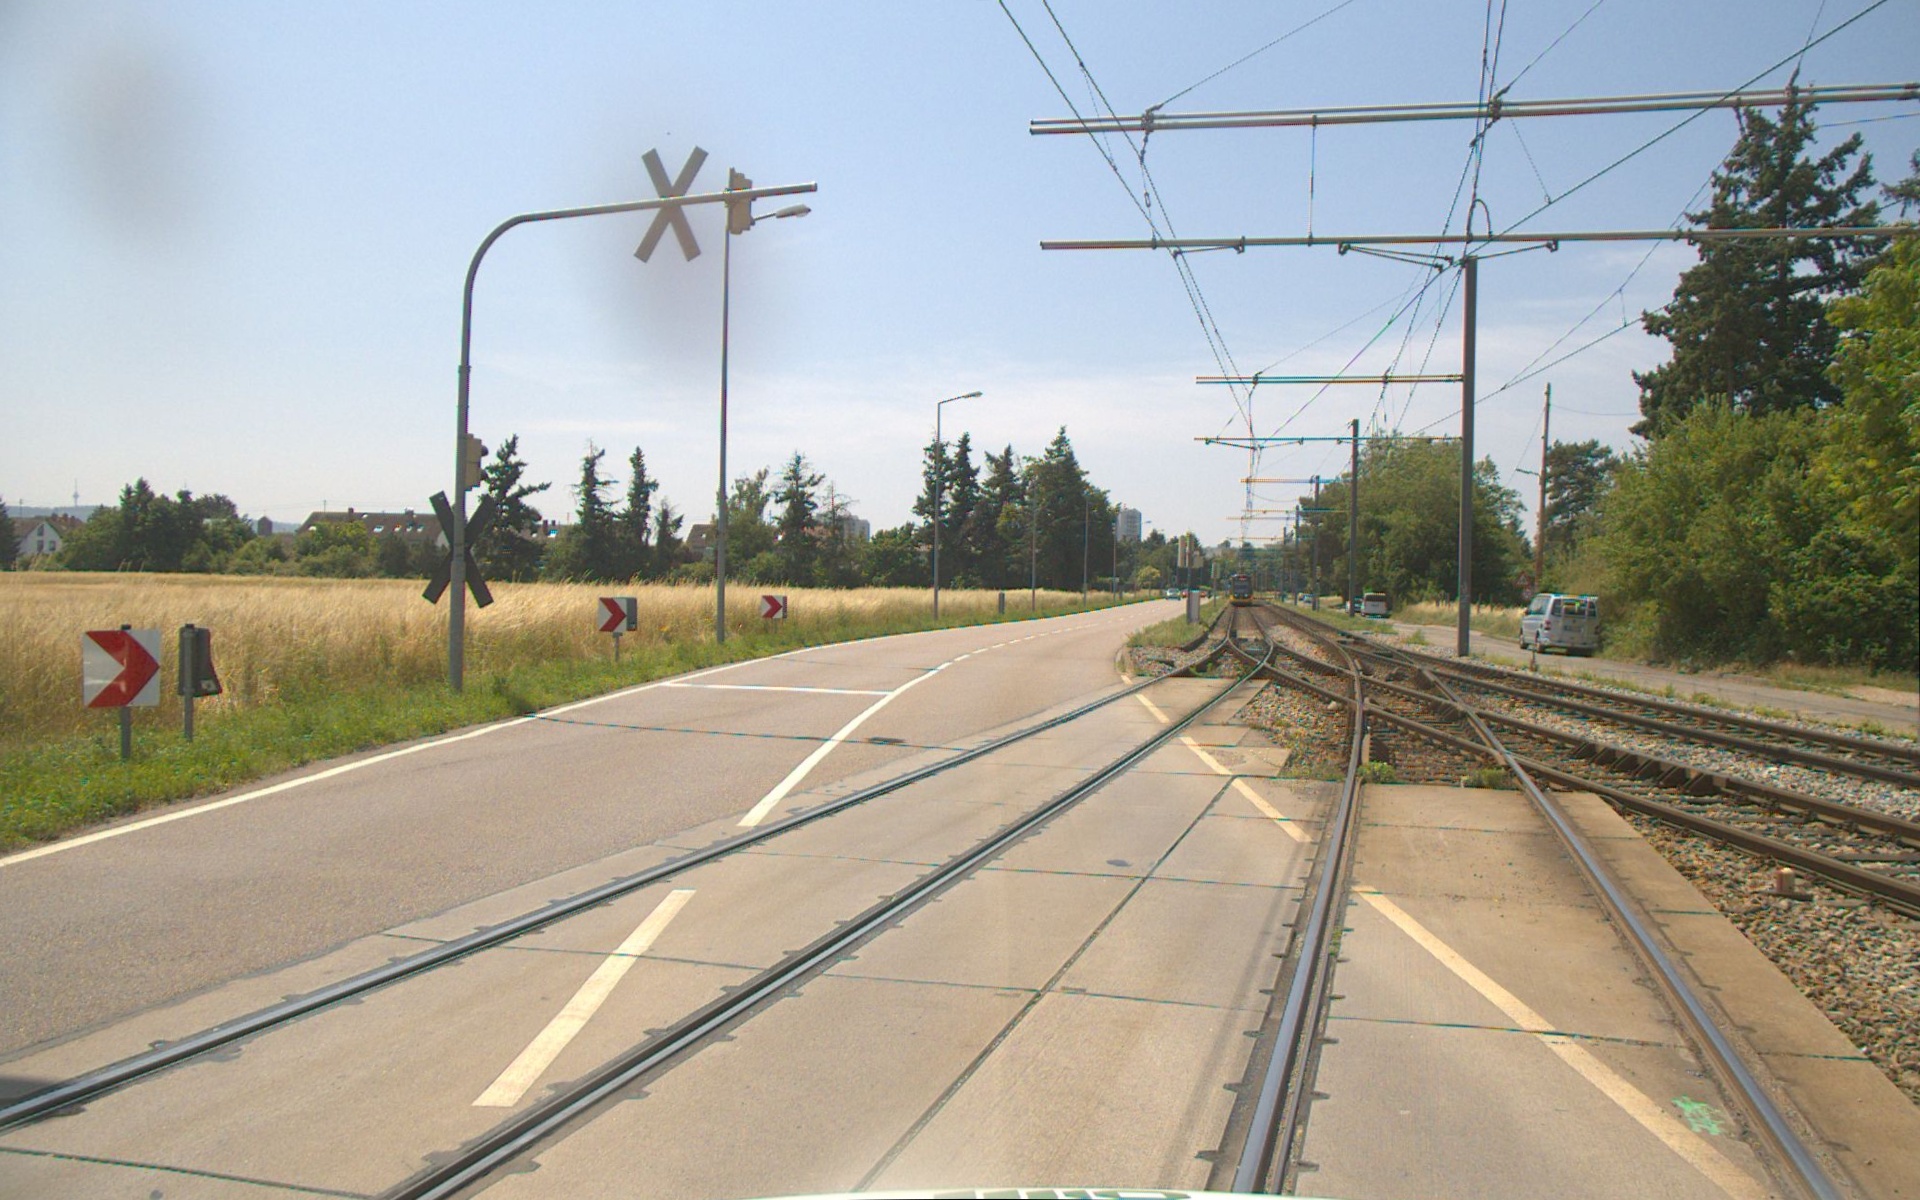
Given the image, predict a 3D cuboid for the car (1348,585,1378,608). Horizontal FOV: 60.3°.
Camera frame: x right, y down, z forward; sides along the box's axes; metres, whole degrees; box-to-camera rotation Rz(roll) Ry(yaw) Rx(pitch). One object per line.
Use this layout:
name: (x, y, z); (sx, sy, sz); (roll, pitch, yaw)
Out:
car: (32.427, -0.269, 133.100); (1.951, 1.834, 4.798); (1, 0, 9)

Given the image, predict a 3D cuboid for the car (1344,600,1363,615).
car: (36.160, 0.731, 152.046); (1.397, 1.331, 3.468); (1, 0, 9)

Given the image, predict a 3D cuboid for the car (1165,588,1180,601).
car: (28.038, -0.726, 217.948); (1.795, 1.492, 4.682); (1, -1, 9)

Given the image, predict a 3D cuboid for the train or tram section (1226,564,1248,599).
train or tram section: (32.135, -2.101, 191.829); (2.377, 3.832, 11.568); (1, 0, 9)

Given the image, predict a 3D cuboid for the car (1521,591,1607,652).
car: (20.351, 0.711, 55.914); (1.993, 1.915, 5.073); (1, 0, 12)
